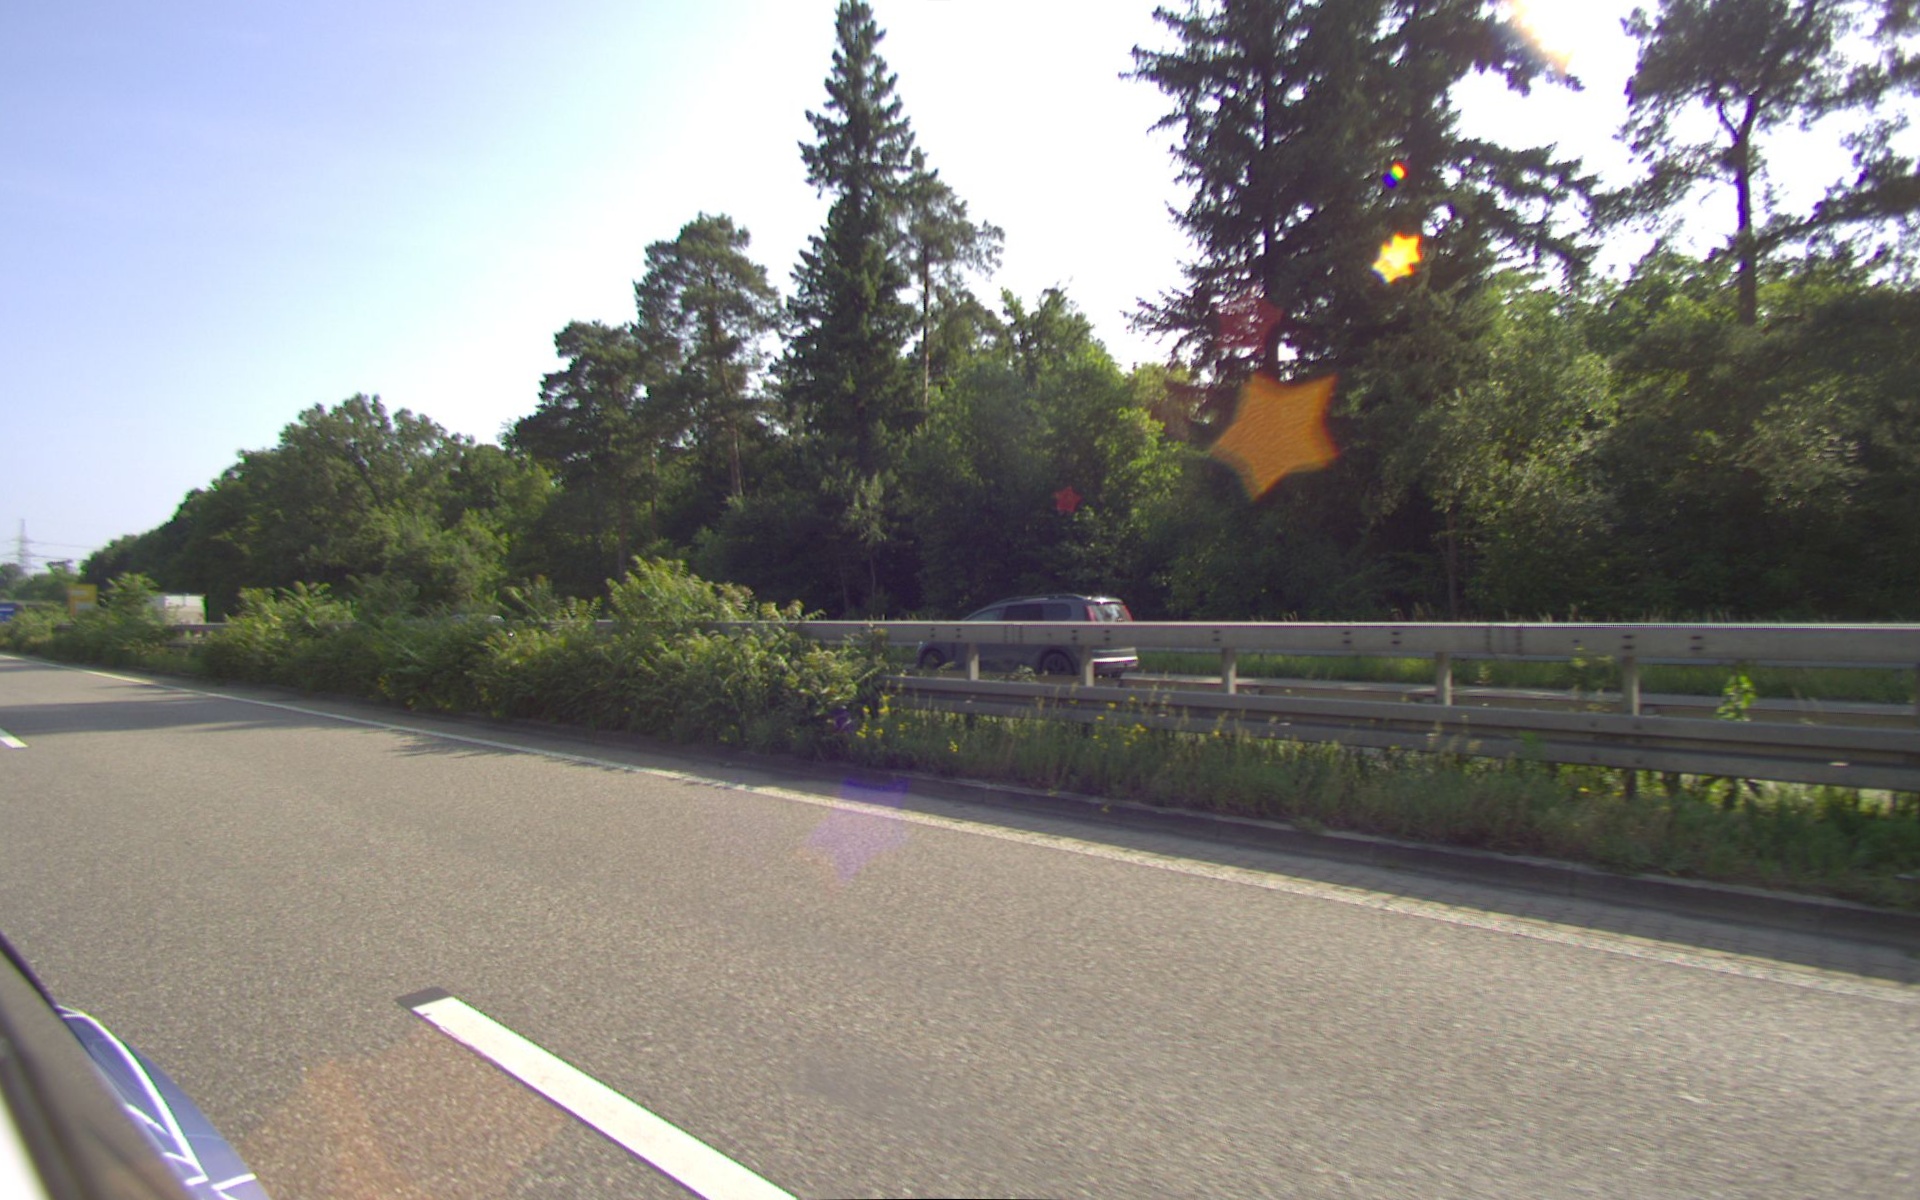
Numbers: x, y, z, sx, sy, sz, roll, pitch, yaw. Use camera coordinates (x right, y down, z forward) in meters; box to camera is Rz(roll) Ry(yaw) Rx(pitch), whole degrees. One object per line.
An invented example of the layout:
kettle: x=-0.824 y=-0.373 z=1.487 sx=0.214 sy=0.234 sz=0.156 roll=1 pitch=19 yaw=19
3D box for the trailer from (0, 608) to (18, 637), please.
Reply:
trailer: x=-139.204 y=3.255 z=146.629 sx=13.320 sy=4.039 sz=2.861 roll=-2 pitch=-3 yaw=42

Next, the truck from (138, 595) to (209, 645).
truck: x=-52.945 y=1.387 z=68.076 sx=7.224 sy=3.201 sz=2.436 roll=-2 pitch=-3 yaw=41

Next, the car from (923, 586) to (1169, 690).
car: x=1.490 y=0.640 z=18.584 sx=4.298 sy=1.695 sz=1.796 roll=-1 pitch=0 yaw=42
